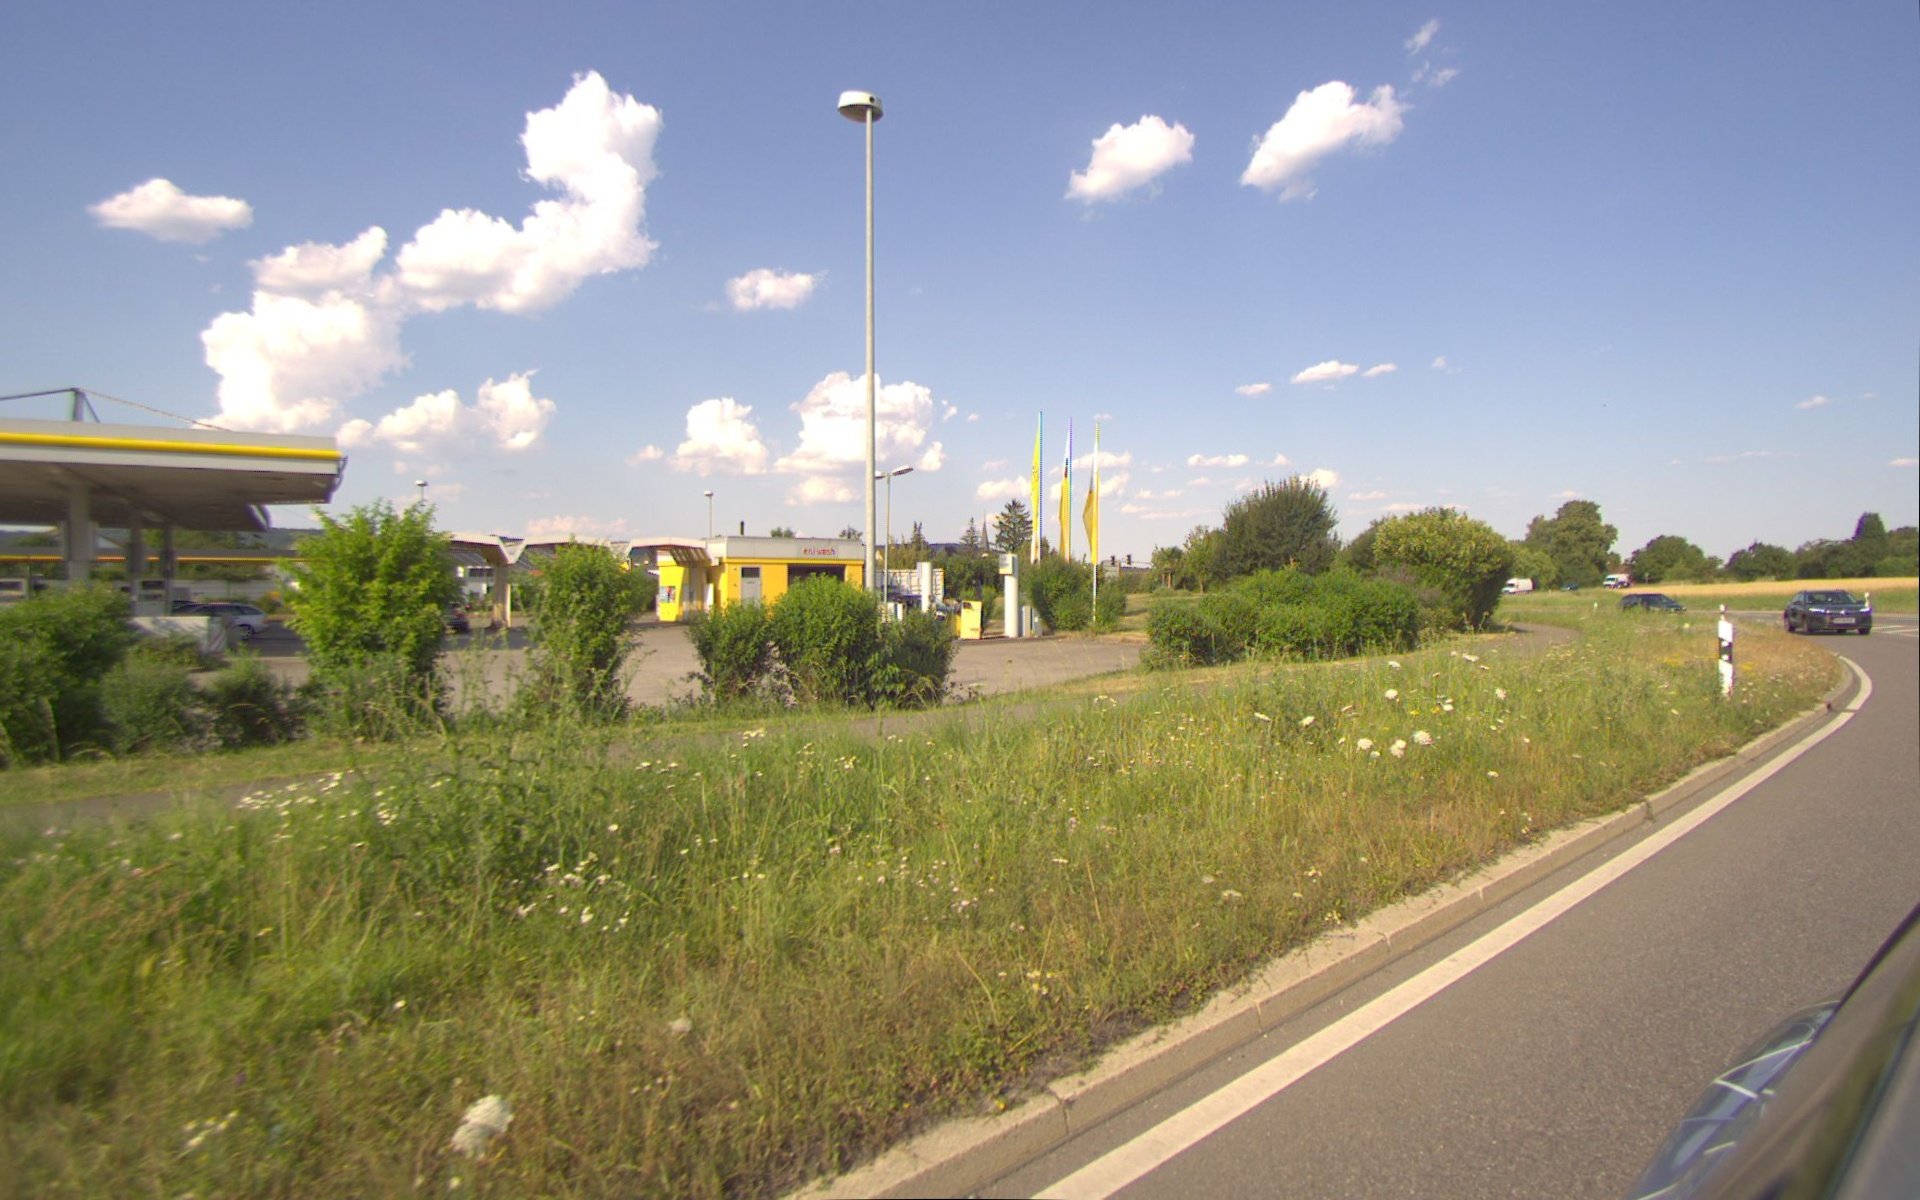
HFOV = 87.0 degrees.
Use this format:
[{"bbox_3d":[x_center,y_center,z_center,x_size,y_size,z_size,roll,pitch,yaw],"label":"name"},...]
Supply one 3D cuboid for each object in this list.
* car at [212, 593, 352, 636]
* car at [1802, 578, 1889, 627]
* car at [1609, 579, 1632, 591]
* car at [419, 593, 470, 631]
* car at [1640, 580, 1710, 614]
[{"bbox_3d":[-26.886,0.553,40.272,1.793,1.558,4.286,-2,-1,37],"label":"car"},{"bbox_3d":[32.578,0.064,37.330,1.776,1.650,4.415,-3,0,34],"label":"car"},{"bbox_3d":[120.887,-2.695,185.232,3.920,2.039,2.002,-2,-1,-30],"label":"car"},{"bbox_3d":[-23.257,0.565,45.555,1.768,1.558,4.345,-2,-1,-31],"label":"car"},{"bbox_3d":[38.295,-0.173,54.305,1.753,1.633,4.521,-3,0,18],"label":"car"}]
